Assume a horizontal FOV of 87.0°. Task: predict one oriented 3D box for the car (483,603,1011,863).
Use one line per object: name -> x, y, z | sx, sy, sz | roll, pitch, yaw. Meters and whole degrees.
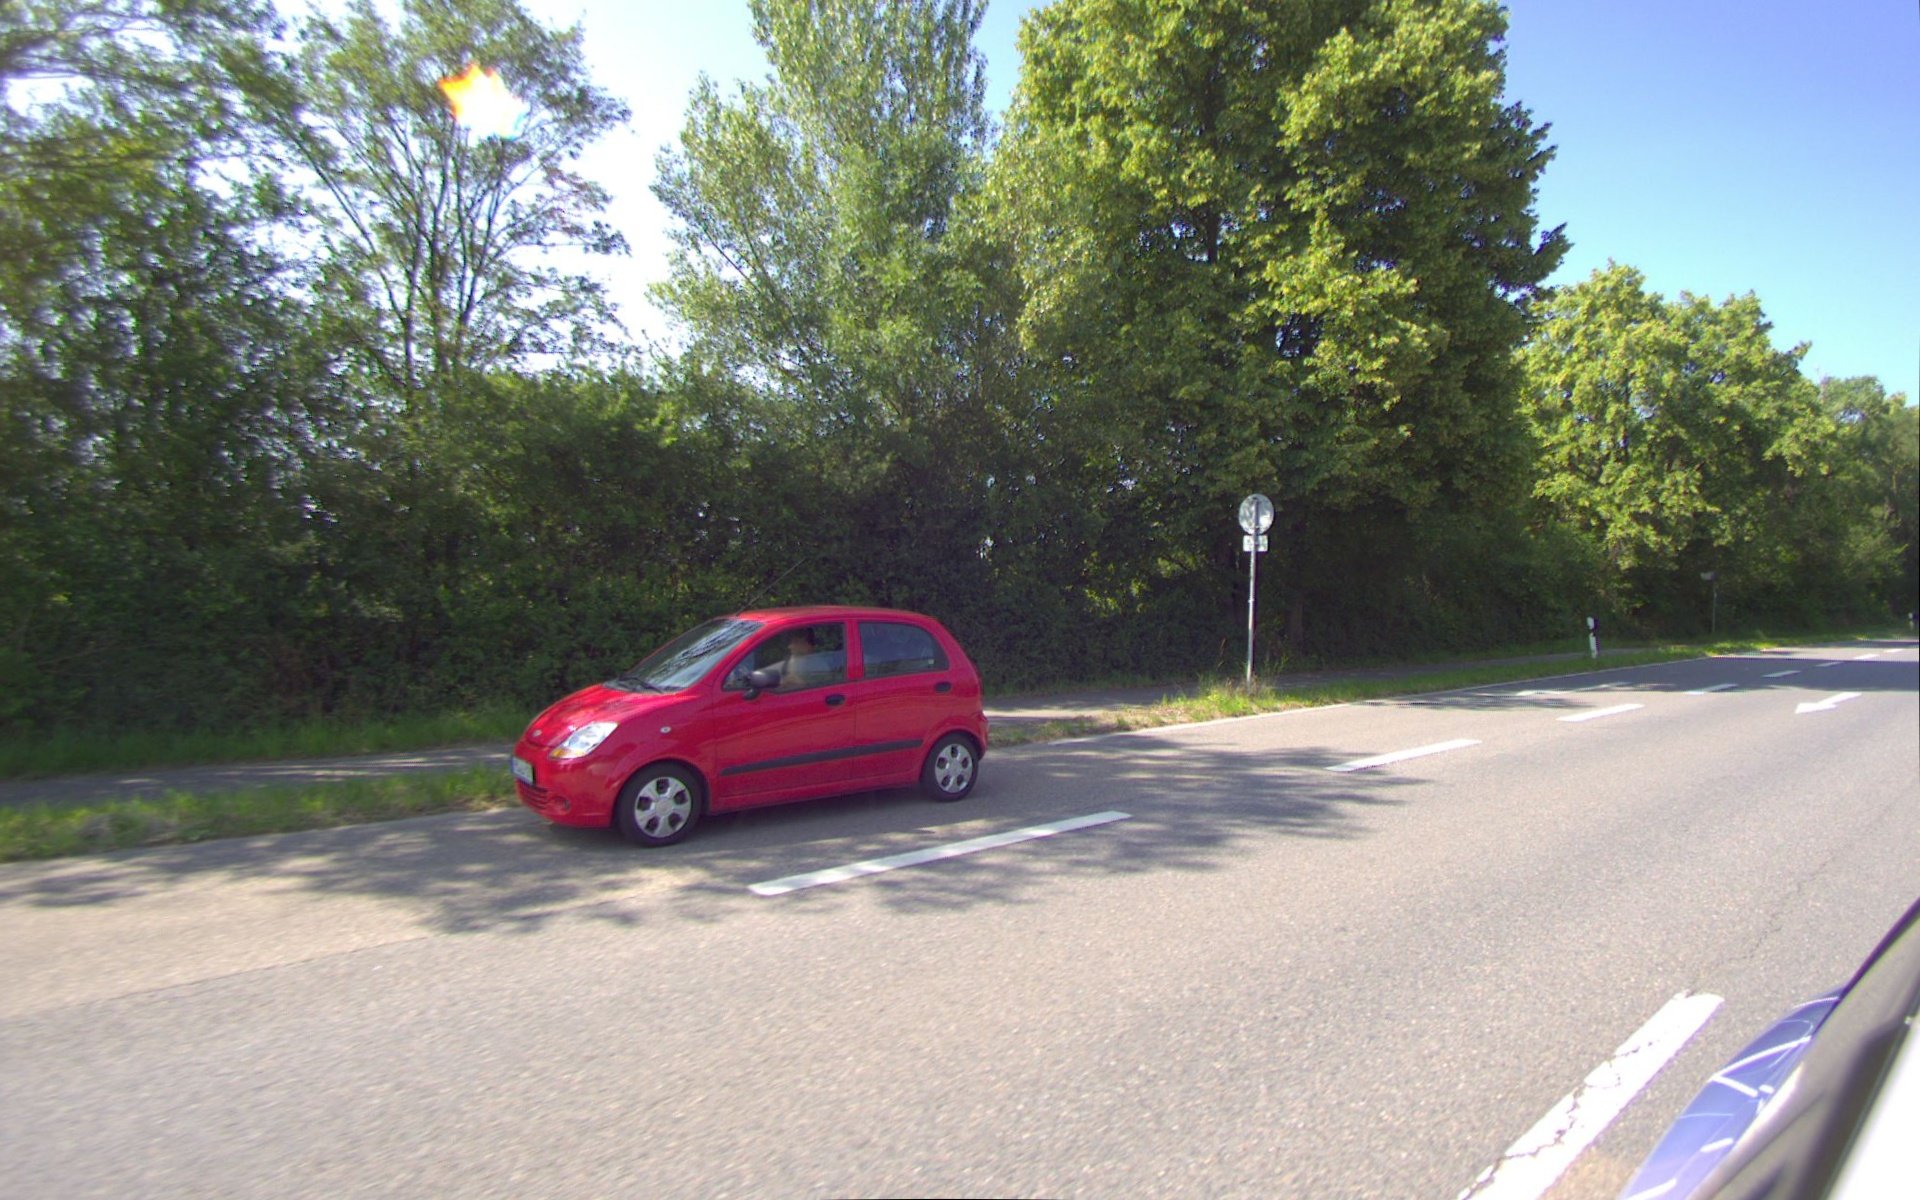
car -> -1.456, 0.770, 7.480 | 3.503, 1.472, 1.549 | 0, -1, -38
